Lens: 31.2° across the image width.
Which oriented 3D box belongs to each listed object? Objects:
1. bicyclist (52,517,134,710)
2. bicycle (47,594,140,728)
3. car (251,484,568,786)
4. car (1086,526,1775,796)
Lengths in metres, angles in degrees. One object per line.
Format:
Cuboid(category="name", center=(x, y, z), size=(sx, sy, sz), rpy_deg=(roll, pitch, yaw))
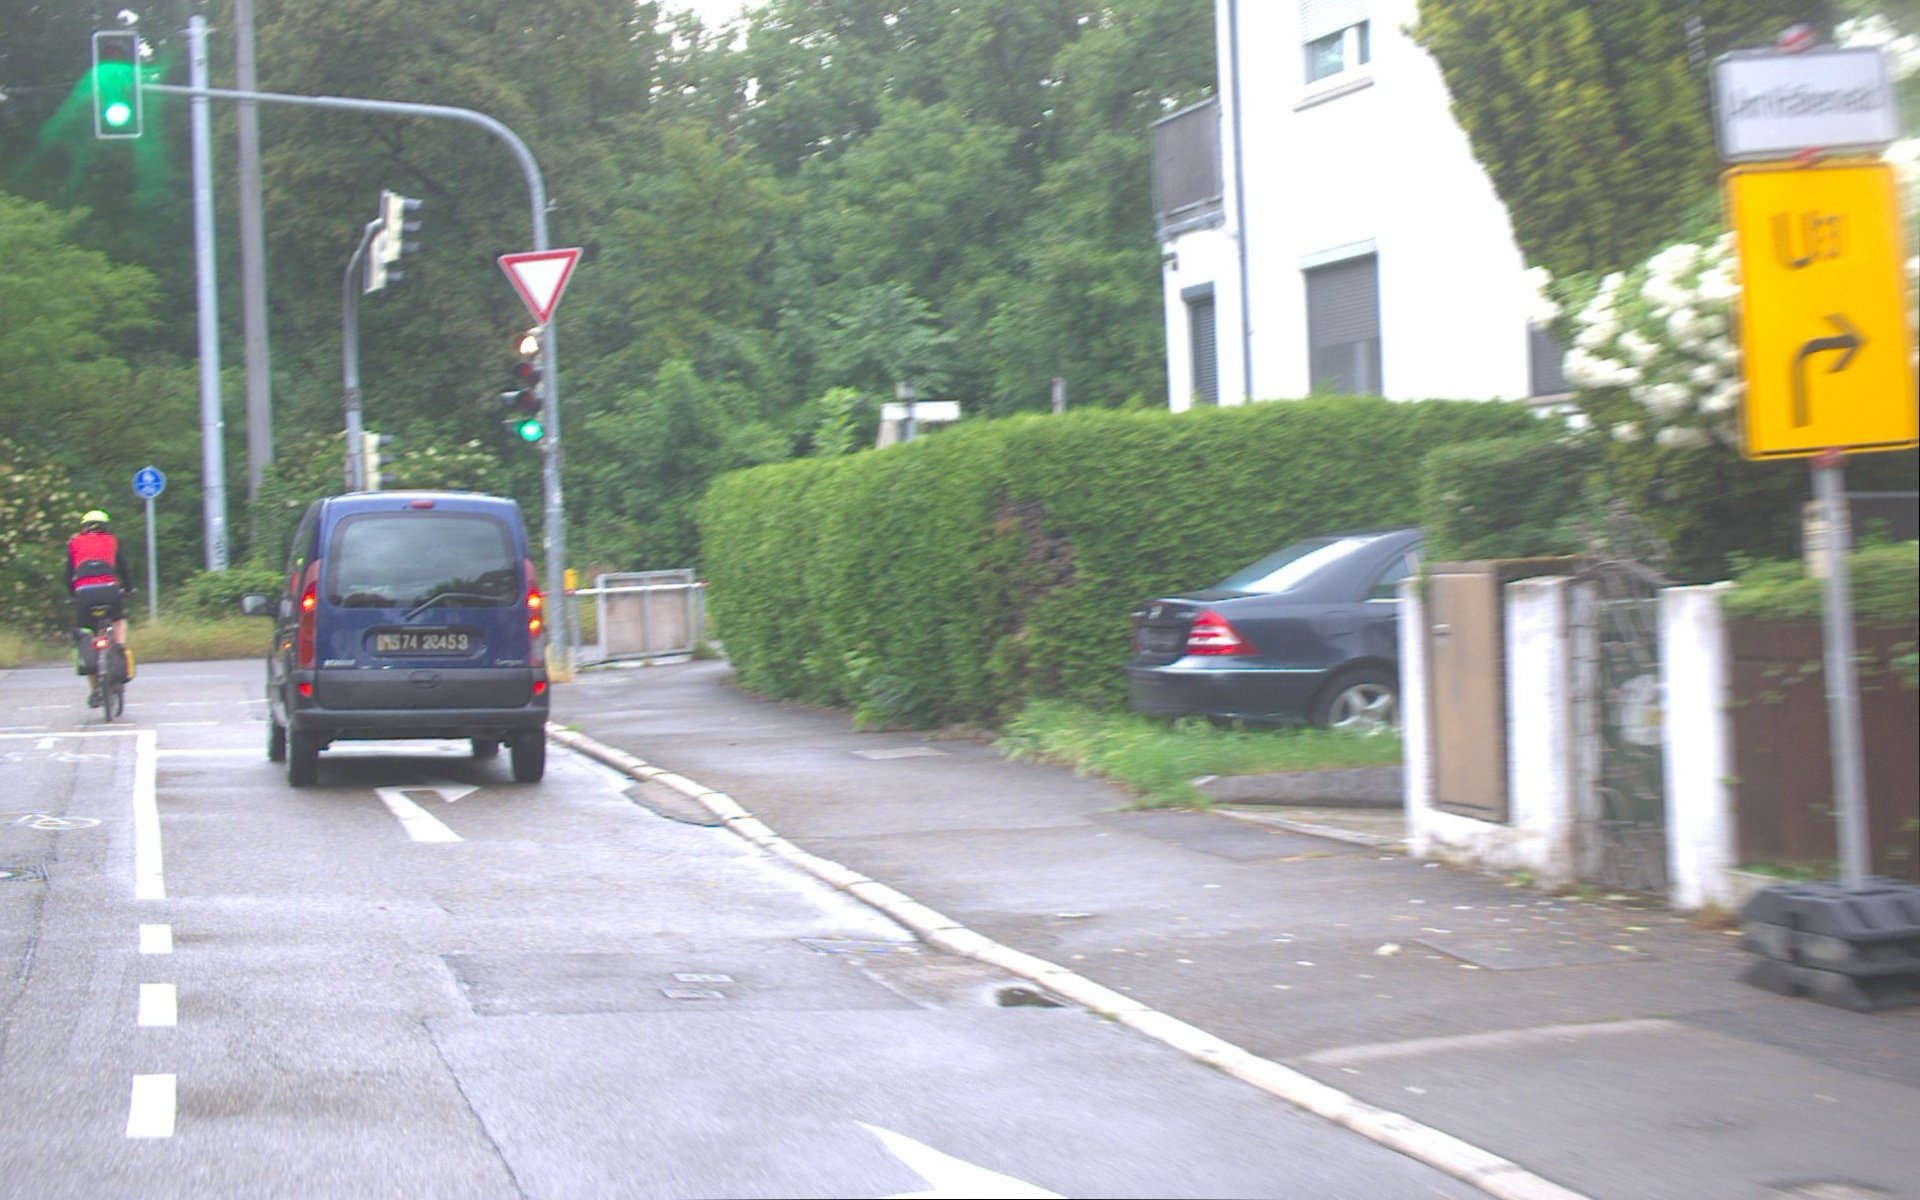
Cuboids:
Cuboid(category="bicyclist", center=(-7.542, 0.103, 29.936), size=(0.578, 1.647, 1.049), rpy_deg=(0, 1, -9))
Cuboid(category="bicycle", center=(-7.560, 0.513, 30.049), size=(0.578, 1.093, 2.155), rpy_deg=(0, 1, -9))
Cuboid(category="car", center=(-3.743, 0.208, 22.856), size=(1.808, 1.791, 4.001), rpy_deg=(-1, 0, -12))
Cuboid(category="car", center=(2.796, 0.320, 20.642), size=(3.742, 1.383, 1.617), rpy_deg=(-2, 3, -14))
